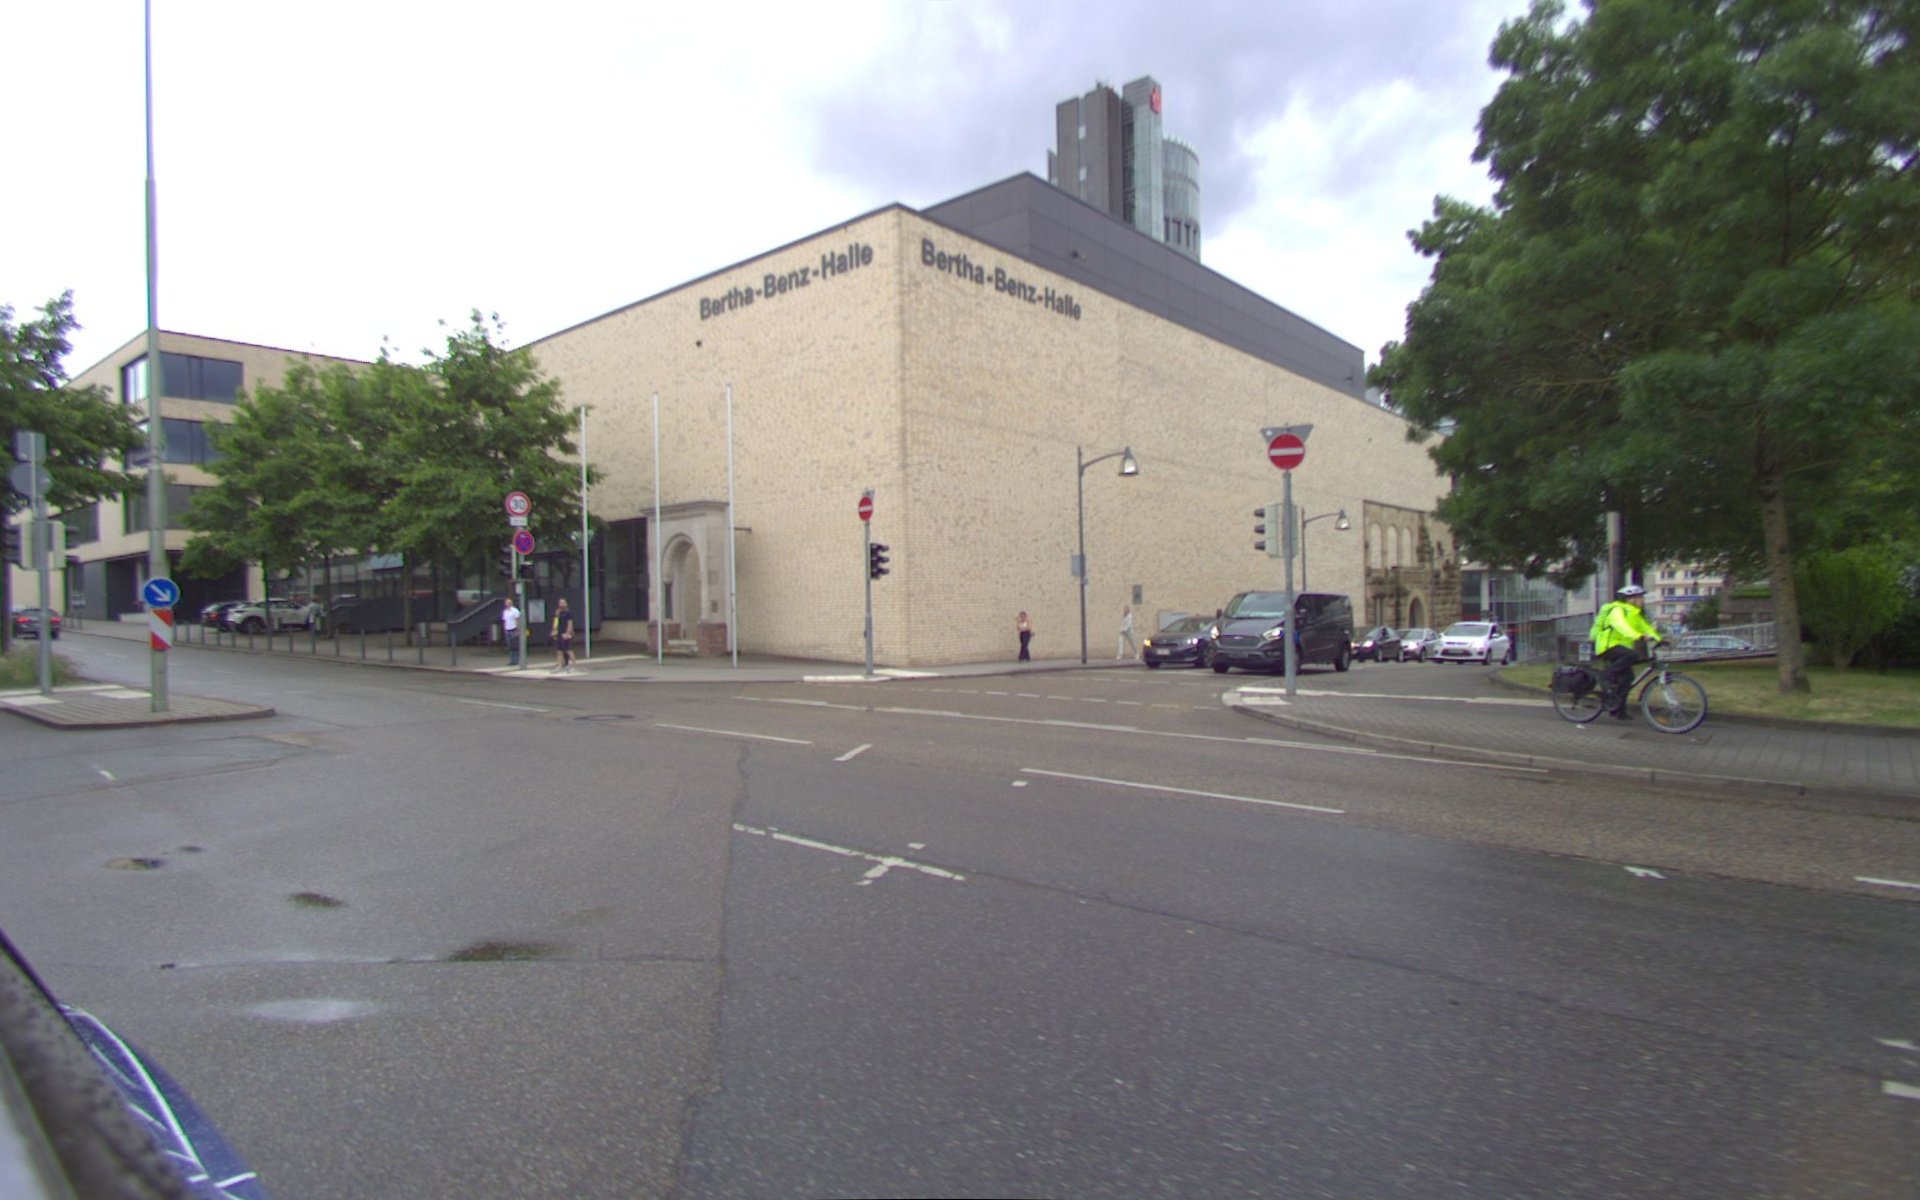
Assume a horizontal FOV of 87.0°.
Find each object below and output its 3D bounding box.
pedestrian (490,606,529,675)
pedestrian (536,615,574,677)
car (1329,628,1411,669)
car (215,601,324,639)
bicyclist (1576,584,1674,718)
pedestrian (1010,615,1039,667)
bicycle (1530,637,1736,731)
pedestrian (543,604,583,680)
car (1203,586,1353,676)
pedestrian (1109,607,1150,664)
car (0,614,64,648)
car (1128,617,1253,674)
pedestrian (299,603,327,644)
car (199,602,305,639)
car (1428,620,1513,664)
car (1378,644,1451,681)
[{"bbox_3d":[-11.665,1.038,26.196,0.690,1.744,0.589,-1,1,35],"label":"pedestrian"},{"bbox_3d":[-10.300,1.150,25.714,0.691,1.528,0.588,-1,1,39],"label":"pedestrian"},{"bbox_3d":[15.768,1.868,38.810,1.997,1.469,3.950,-1,-4,37],"label":"car"},{"bbox_3d":[-32.921,0.942,48.324,2.000,1.597,3.943,-1,1,43],"label":"car"},{"bbox_3d":[7.679,0.555,11.687,0.812,1.453,0.833,-1,1,42],"label":"bicyclist"},{"bbox_3d":[1.771,1.110,27.790,0.474,1.386,0.614,-1,1,40],"label":"pedestrian"},{"bbox_3d":[7.726,0.922,11.658,1.866,0.914,0.876,-1,1,42],"label":"bicycle"},{"bbox_3d":[-9.540,0.998,24.305,0.691,1.784,0.588,-1,1,39],"label":"pedestrian"},{"bbox_3d":[7.739,0.811,24.328,1.997,1.940,4.732,-1,-4,37],"label":"car"},{"bbox_3d":[5.314,1.102,31.732,0.806,1.713,1.100,-1,1,37],"label":"pedestrian"},{"bbox_3d":[-42.740,1.435,46.449,4.295,1.481,1.655,-1,-3,38],"label":"car"},{"bbox_3d":[6.418,1.282,27.882,1.996,1.453,3.952,-1,-4,35],"label":"car"},{"bbox_3d":[-27.534,0.991,43.063,0.793,1.659,0.977,-3,1,-44],"label":"pedestrian"},{"bbox_3d":[-34.815,0.973,49.803,2.000,1.597,3.943,-1,1,43],"label":"car"},{"bbox_3d":[18.720,1.558,37.014,1.998,1.469,3.947,-1,-4,39],"label":"car"},{"bbox_3d":[19.216,2.640,42.733,1.997,1.469,3.950,-1,-4,37],"label":"car"}]
